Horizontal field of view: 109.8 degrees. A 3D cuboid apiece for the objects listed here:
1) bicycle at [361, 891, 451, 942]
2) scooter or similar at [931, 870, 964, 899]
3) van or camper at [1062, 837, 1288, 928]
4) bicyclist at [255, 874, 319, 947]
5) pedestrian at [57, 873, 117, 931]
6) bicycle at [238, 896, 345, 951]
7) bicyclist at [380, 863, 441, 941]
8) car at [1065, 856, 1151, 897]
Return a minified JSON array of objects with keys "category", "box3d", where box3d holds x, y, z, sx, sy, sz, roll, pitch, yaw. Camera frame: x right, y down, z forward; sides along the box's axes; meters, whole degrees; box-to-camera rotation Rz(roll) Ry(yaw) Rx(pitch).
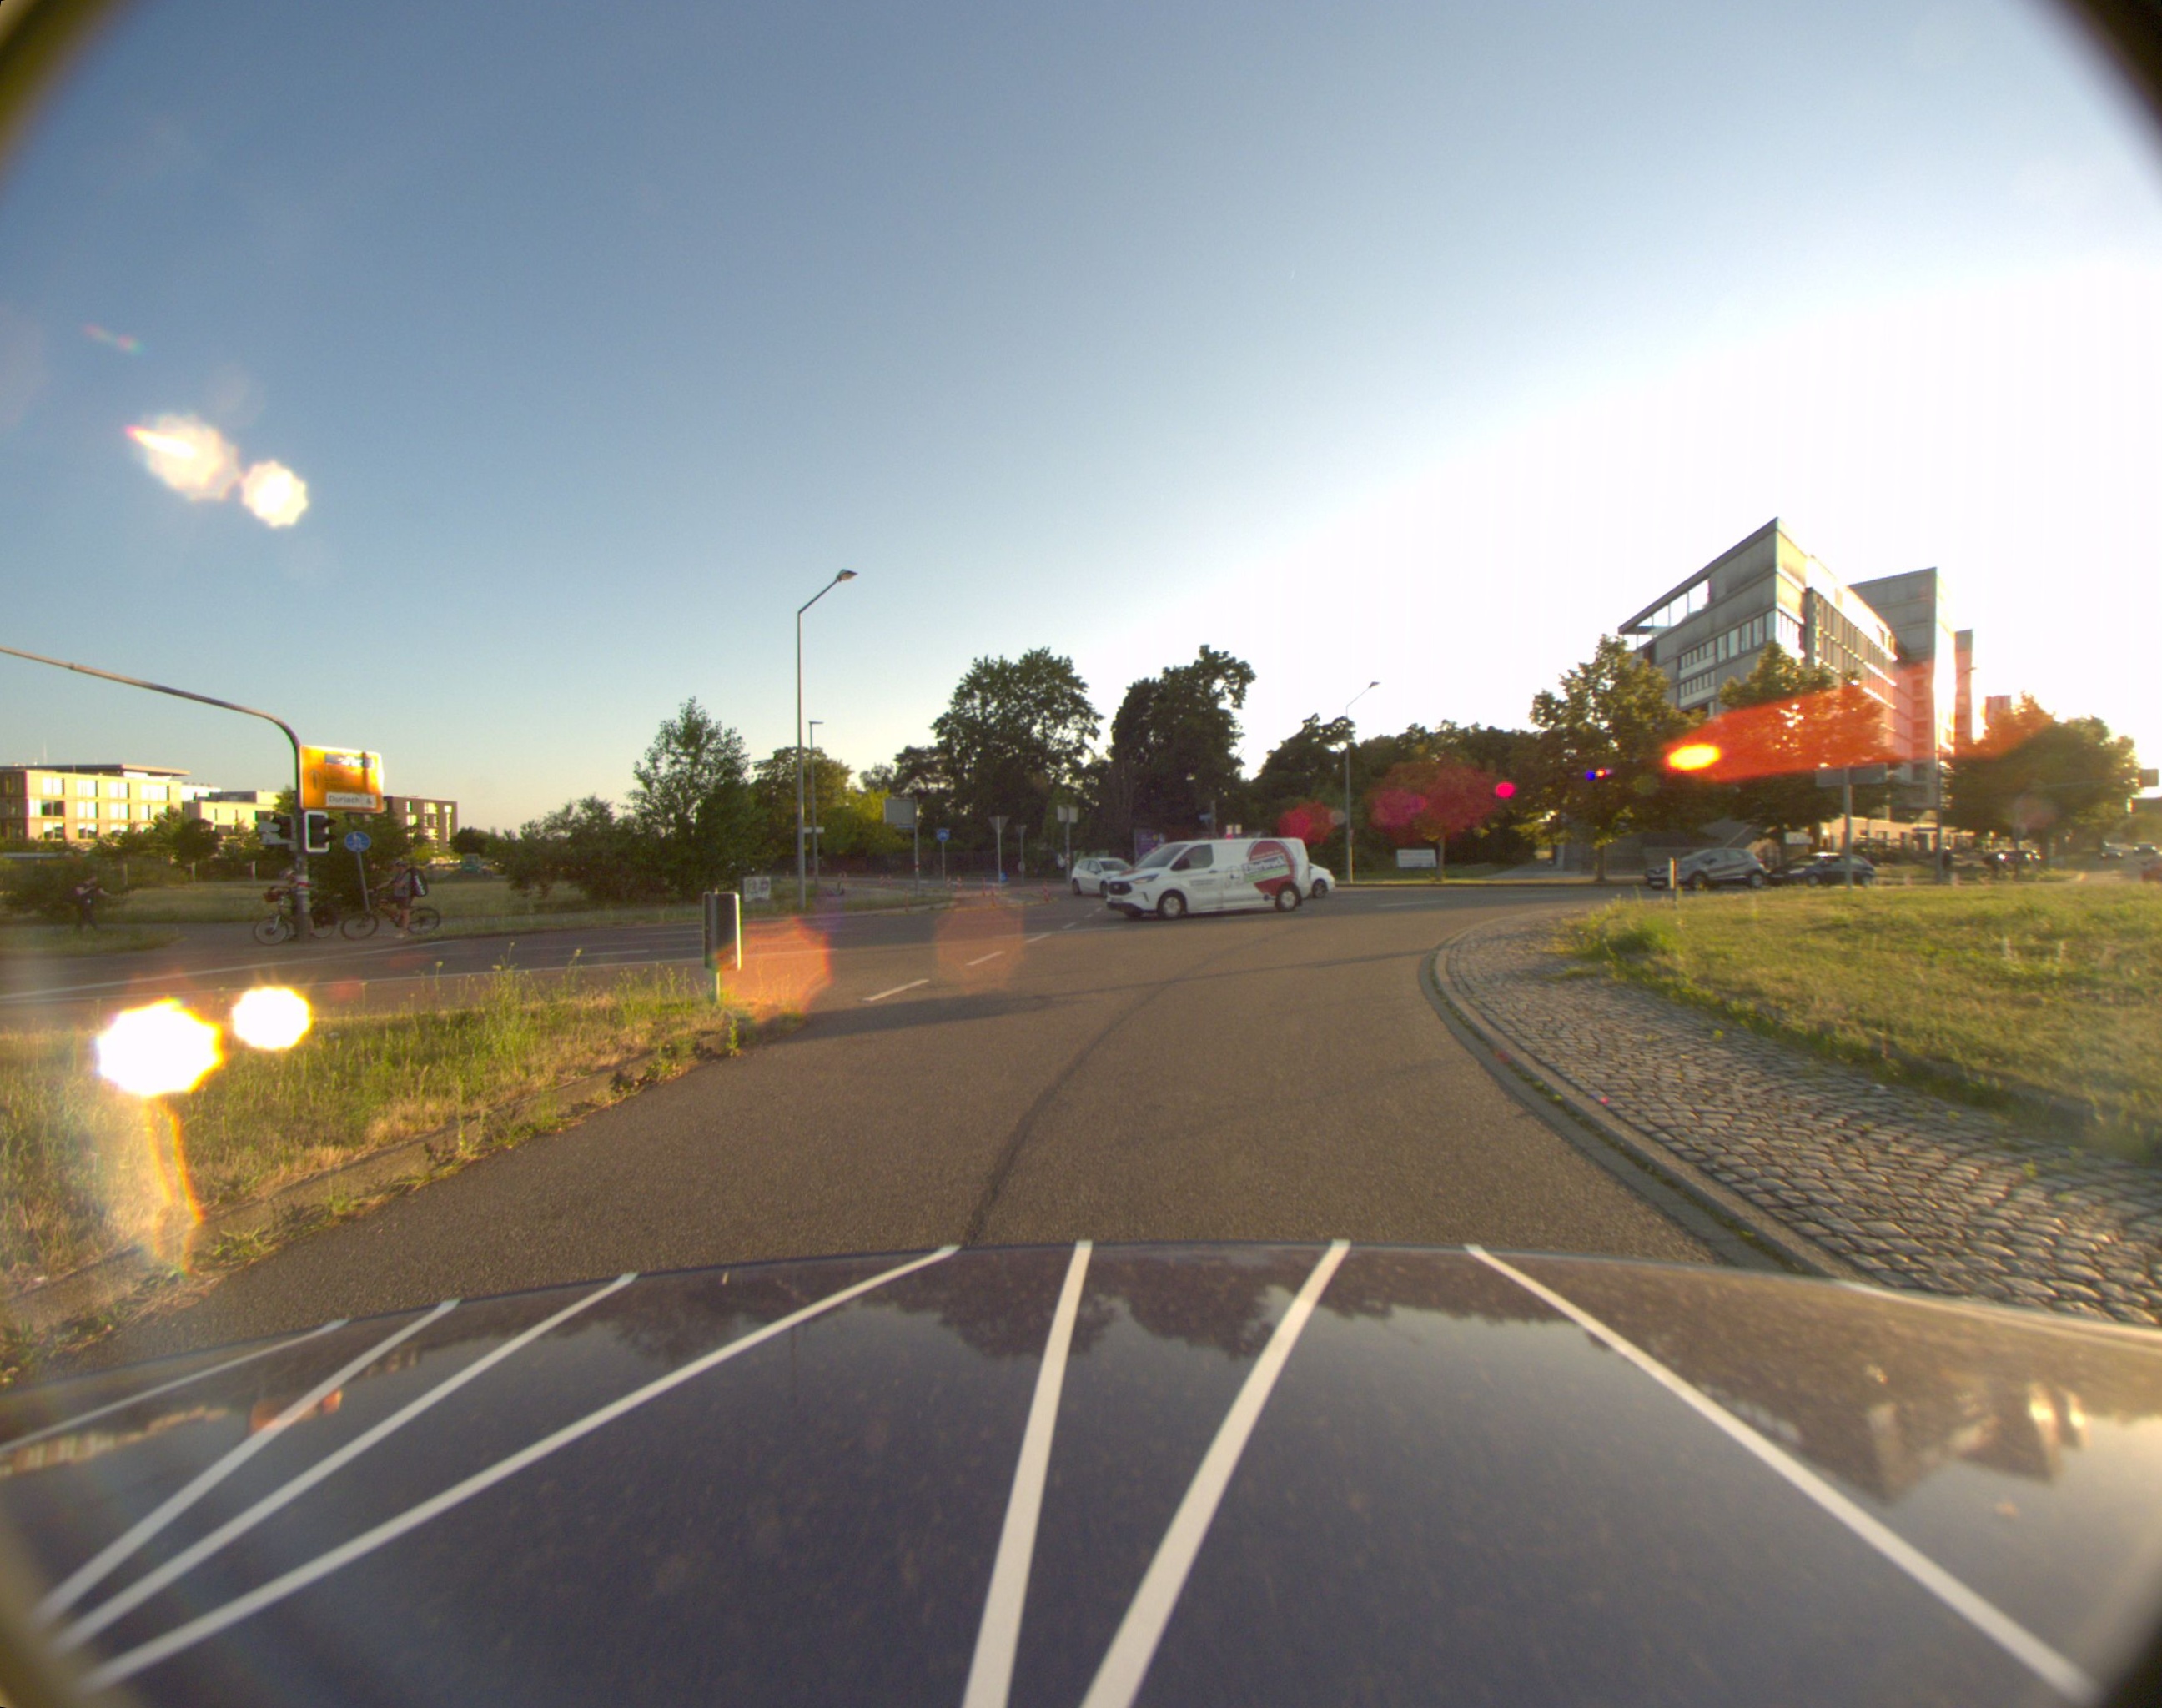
[{"category":"bicycle","box3d":[-17.116,1.556,19.333,0.456,1.079,1.928,-1,2,2]},{"category":"scooter or similar","box3d":[-5.539,1.264,31.628,0.441,1.156,1.386,0,1,39]},{"category":"van or camper","box3d":[2.375,0.603,18.783,5.336,1.946,1.995,-1,1,-28]},{"category":"bicyclist","box3d":[-19.178,1.351,18.368,0.641,1.693,0.770,-1,3,1]},{"category":"pedestrian","box3d":[-27.444,1.312,20.989,0.567,1.541,0.797,-1,1,4]},{"category":"bicycle","box3d":[-19.046,1.641,18.391,0.456,1.079,1.927,-1,3,2]},{"category":"bicyclist","box3d":[-16.988,1.198,19.275,0.641,1.887,0.910,-1,2,1]},{"category":"car","box3d":[1.046,0.863,31.482,1.893,1.549,4.087,-1,0,-25]}]
